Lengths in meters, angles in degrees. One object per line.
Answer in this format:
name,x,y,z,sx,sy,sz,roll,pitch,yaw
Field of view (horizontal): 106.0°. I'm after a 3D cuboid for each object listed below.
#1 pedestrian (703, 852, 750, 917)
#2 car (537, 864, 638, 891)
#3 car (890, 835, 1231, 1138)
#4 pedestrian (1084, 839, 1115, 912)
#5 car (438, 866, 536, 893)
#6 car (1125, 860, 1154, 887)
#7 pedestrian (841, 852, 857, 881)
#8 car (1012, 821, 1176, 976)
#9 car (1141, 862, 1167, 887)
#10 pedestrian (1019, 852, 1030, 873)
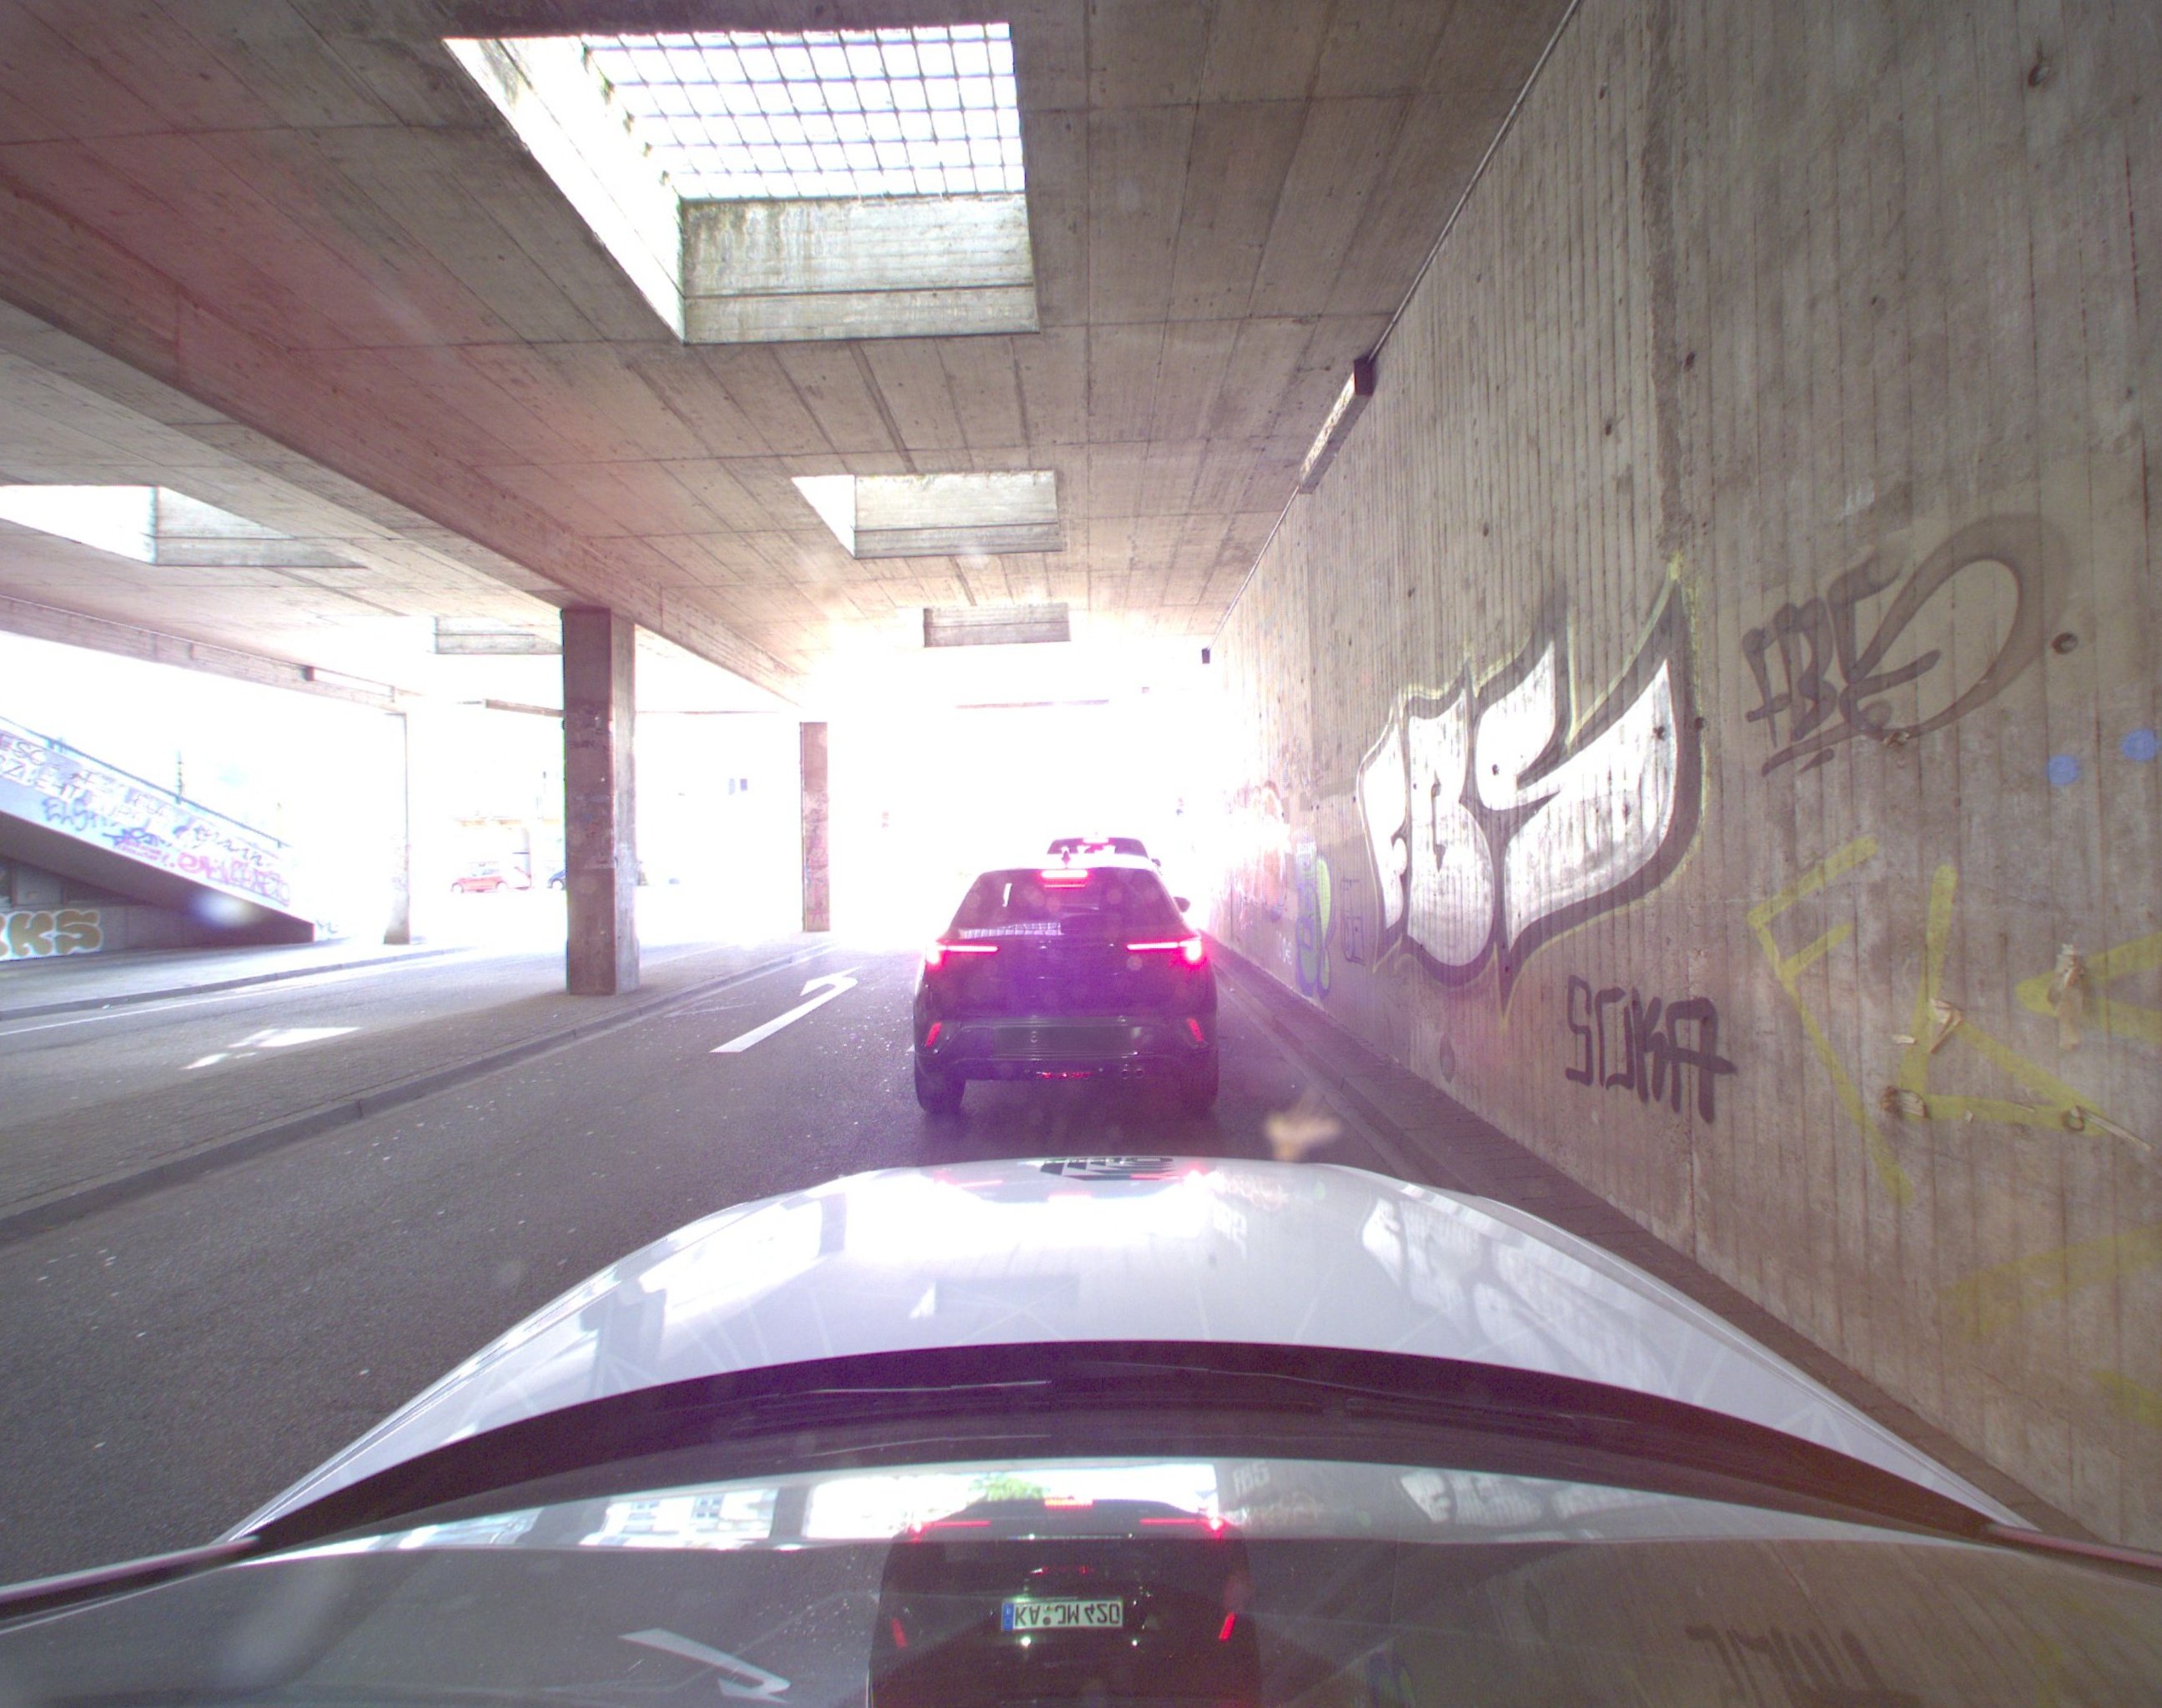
pedestrian,-9.693,0.825,22.300,0.925,1.762,0.795,0,-1,3
car,-27.359,1.303,45.245,4.393,1.409,1.925,0,-1,-1
car,-0.042,0.655,6.230,1.758,1.571,4.002,0,1,2
pedestrian,0.450,0.520,20.006,0.728,1.734,0.874,0,-1,1
car,-32.966,1.397,45.287,3.975,1.409,1.925,0,-1,-1
car,4.512,1.443,62.389,1.983,1.970,4.172,0,-1,7
pedestrian,-13.230,0.731,46.396,0.669,1.637,0.741,0,-1,1
car,0.229,0.545,12.099,1.986,1.871,4.002,-2,0,2
car,6.175,1.677,68.428,1.983,1.970,4.172,0,-1,7
pedestrian,-5.638,0.818,81.684,0.887,2.088,0.810,0,-1,9
